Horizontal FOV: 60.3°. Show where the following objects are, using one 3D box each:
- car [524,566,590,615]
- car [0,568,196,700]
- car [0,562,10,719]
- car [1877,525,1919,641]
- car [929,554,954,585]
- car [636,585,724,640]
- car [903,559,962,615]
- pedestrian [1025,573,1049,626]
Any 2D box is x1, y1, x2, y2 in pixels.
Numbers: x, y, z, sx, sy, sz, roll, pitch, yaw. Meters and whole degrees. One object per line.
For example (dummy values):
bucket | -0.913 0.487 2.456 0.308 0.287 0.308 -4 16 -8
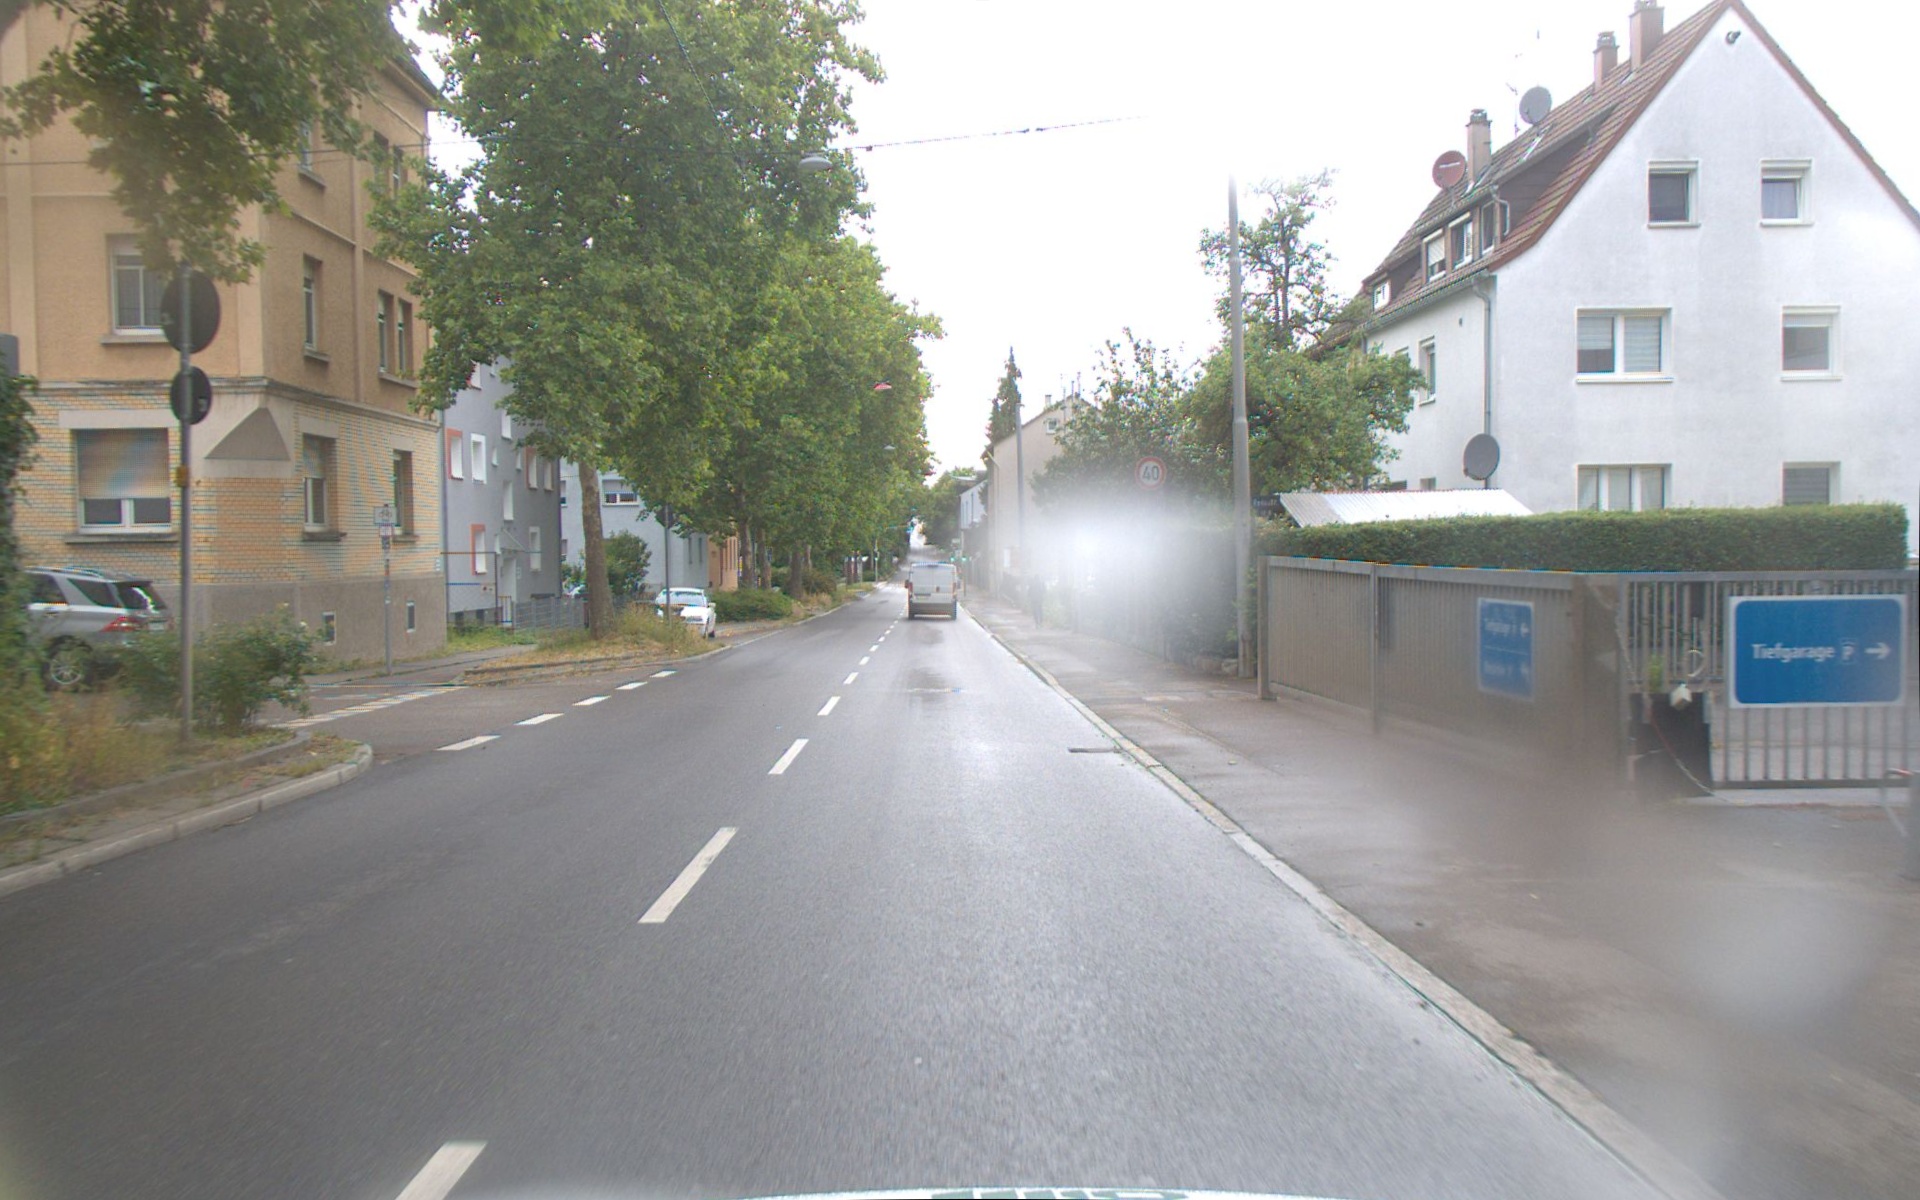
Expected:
car | -16.788 -0.421 69.005 1.837 1.927 4.000 0 1 -1
car | -14.167 0.501 25.189 4.112 1.925 1.999 0 0 -2
car | -13.822 0.520 19.437 4.112 1.925 1.999 0 0 -2
car | 17.804 -0.299 28.438 1.801 2.049 3.999 0 0 -1
car | -1.532 -2.467 135.049 1.953 2.440 3.999 0 0 -1
car | -7.837 0.331 46.636 1.954 1.477 4.208 0 0 -3
car | -1.198 -0.585 69.441 2.300 2.197 4.776 -1 2 -3
pedestrian | 2.564 -0.018 55.019 0.799 1.728 0.729 0 0 2
